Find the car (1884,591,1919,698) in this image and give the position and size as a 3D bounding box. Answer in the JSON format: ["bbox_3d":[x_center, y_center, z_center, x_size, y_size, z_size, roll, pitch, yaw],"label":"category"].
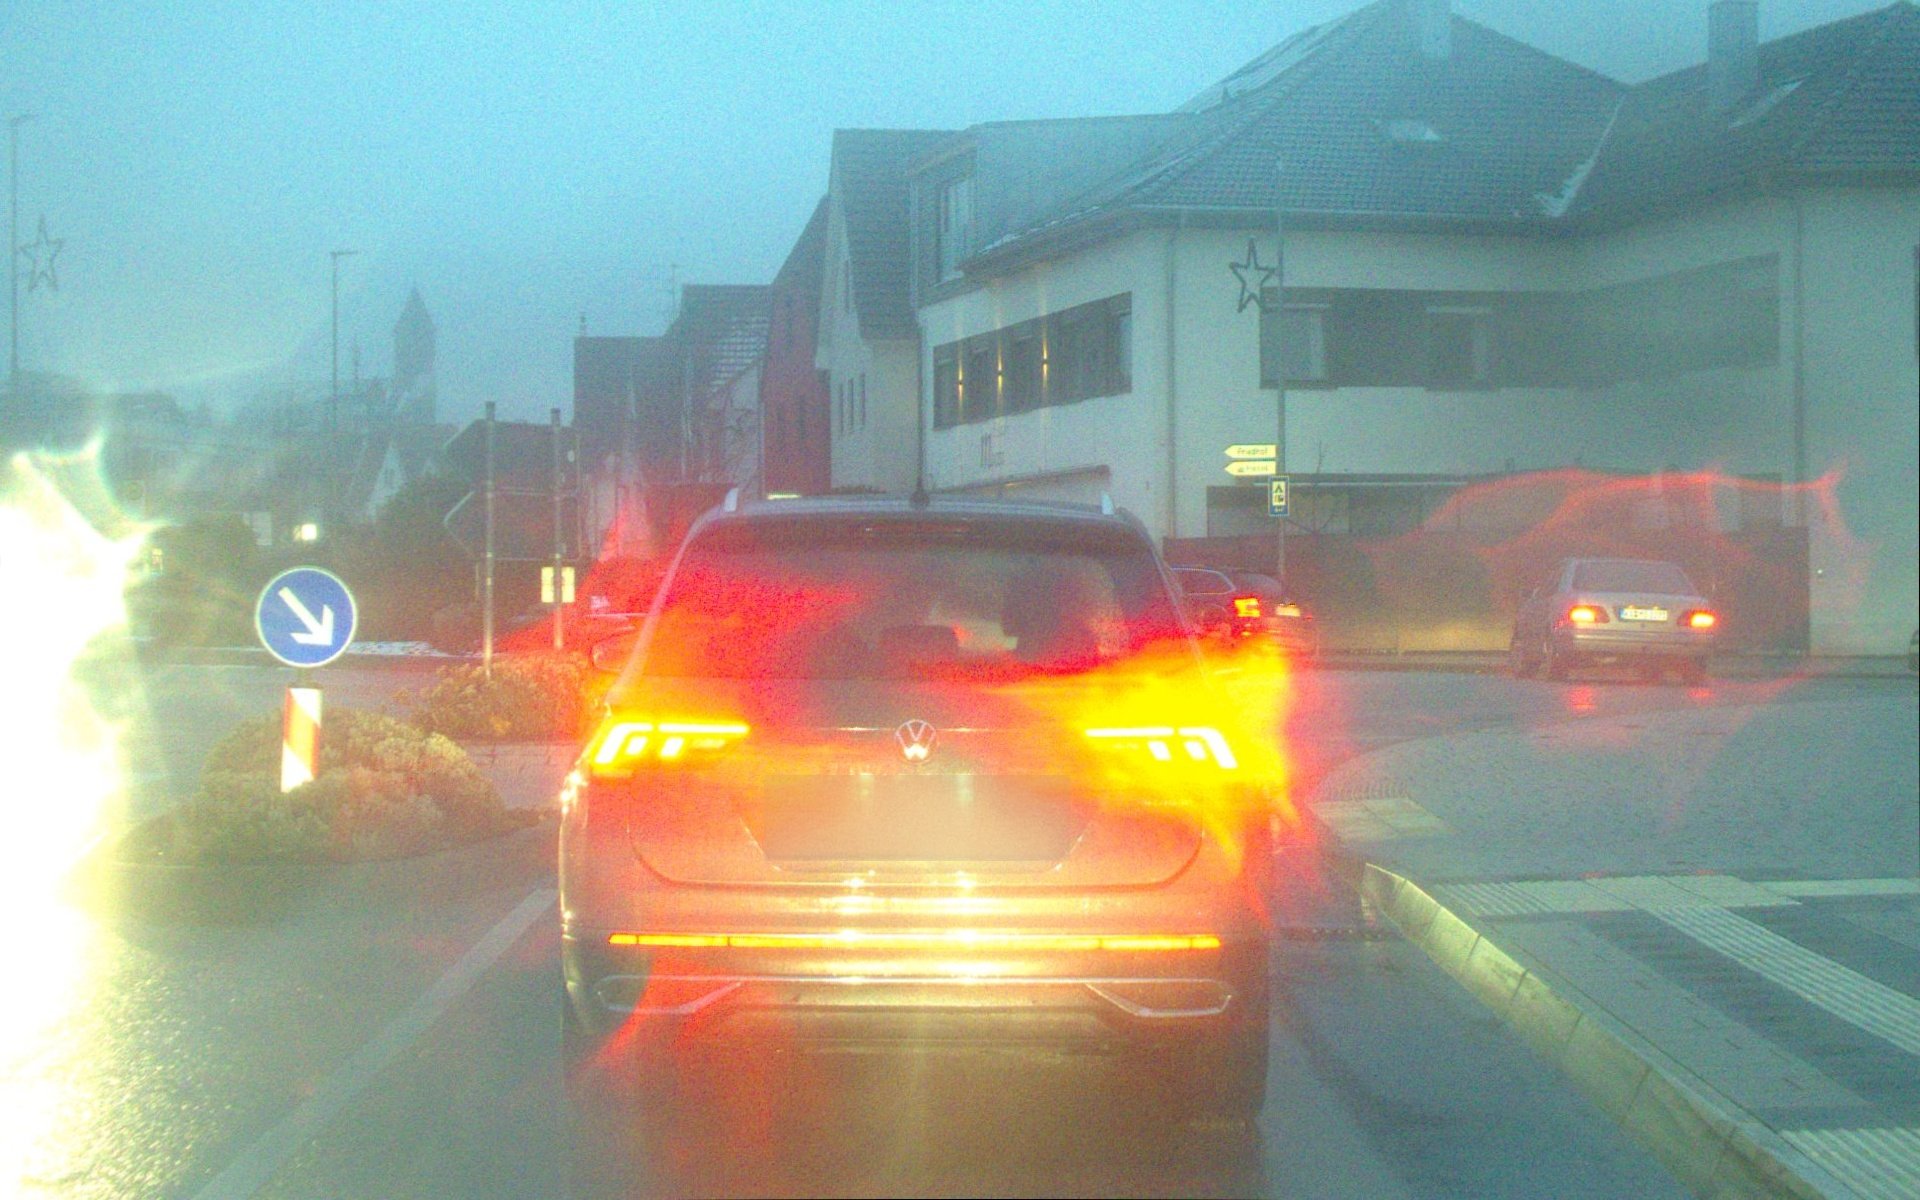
[{"bbox_3d":[14.536,0.617,45.257,4.220,1.379,1.851,1,-2,-2],"label":"car"}]

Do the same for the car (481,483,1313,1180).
[{"bbox_3d":[-0.250,0.506,9.951,1.915,1.609,3.951,1,1,-3],"label":"car"}]

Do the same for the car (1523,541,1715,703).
[{"bbox_3d":[7.492,0.210,39.403,1.822,1.622,3.999,-2,2,7],"label":"car"}]

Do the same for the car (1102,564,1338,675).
[{"bbox_3d":[3.545,0.241,47.566,1.645,1.460,4.001,0,1,-22],"label":"car"}]

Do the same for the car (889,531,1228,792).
[{"bbox_3d":[0.727,0.319,22.287,1.778,1.533,3.931,0,1,8],"label":"car"}]
